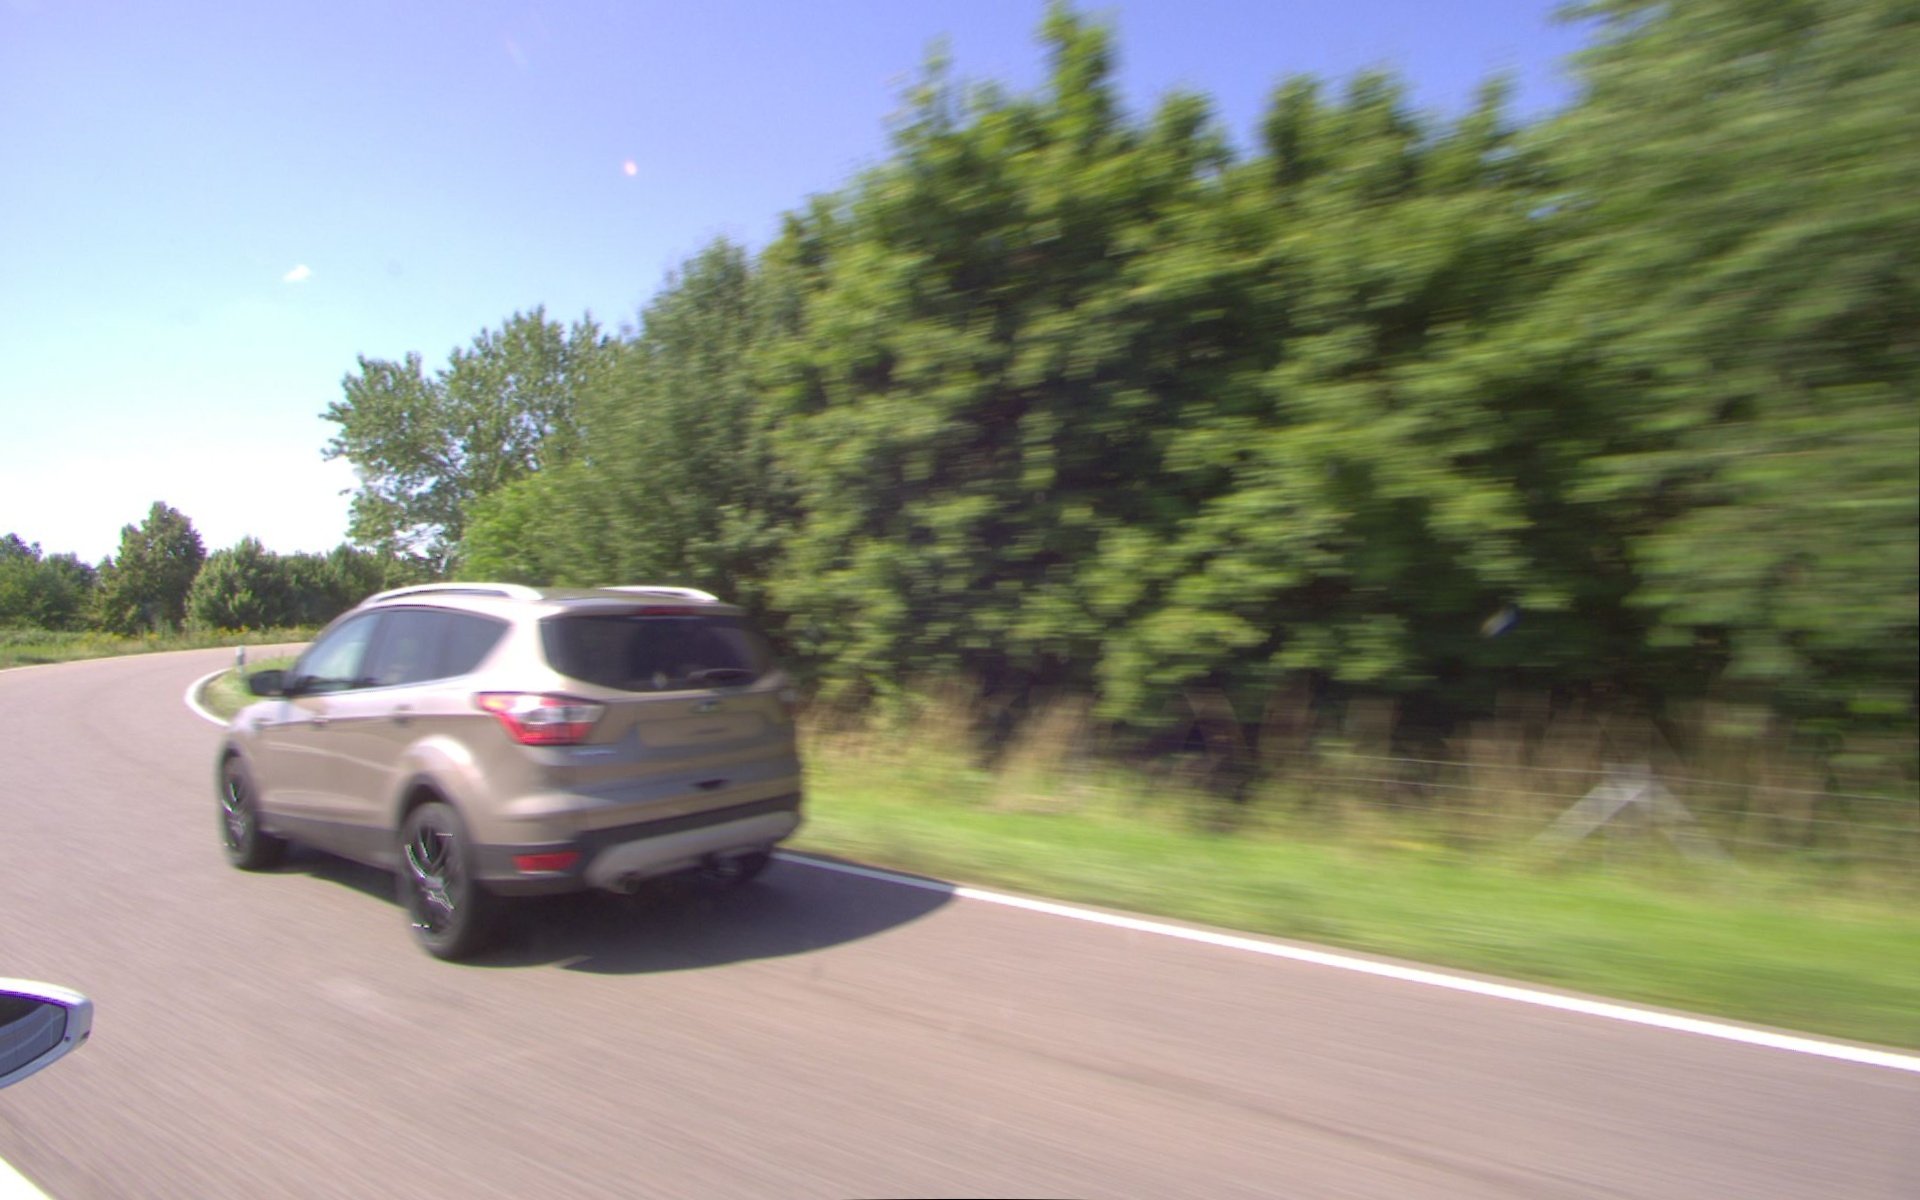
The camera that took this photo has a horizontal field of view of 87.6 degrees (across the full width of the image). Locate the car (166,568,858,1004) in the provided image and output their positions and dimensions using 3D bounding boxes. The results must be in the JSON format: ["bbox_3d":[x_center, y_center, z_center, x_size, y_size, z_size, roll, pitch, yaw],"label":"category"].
[{"bbox_3d":[-2.936,0.755,6.054,4.607,1.687,1.887,0,-1,38],"label":"car"}]
